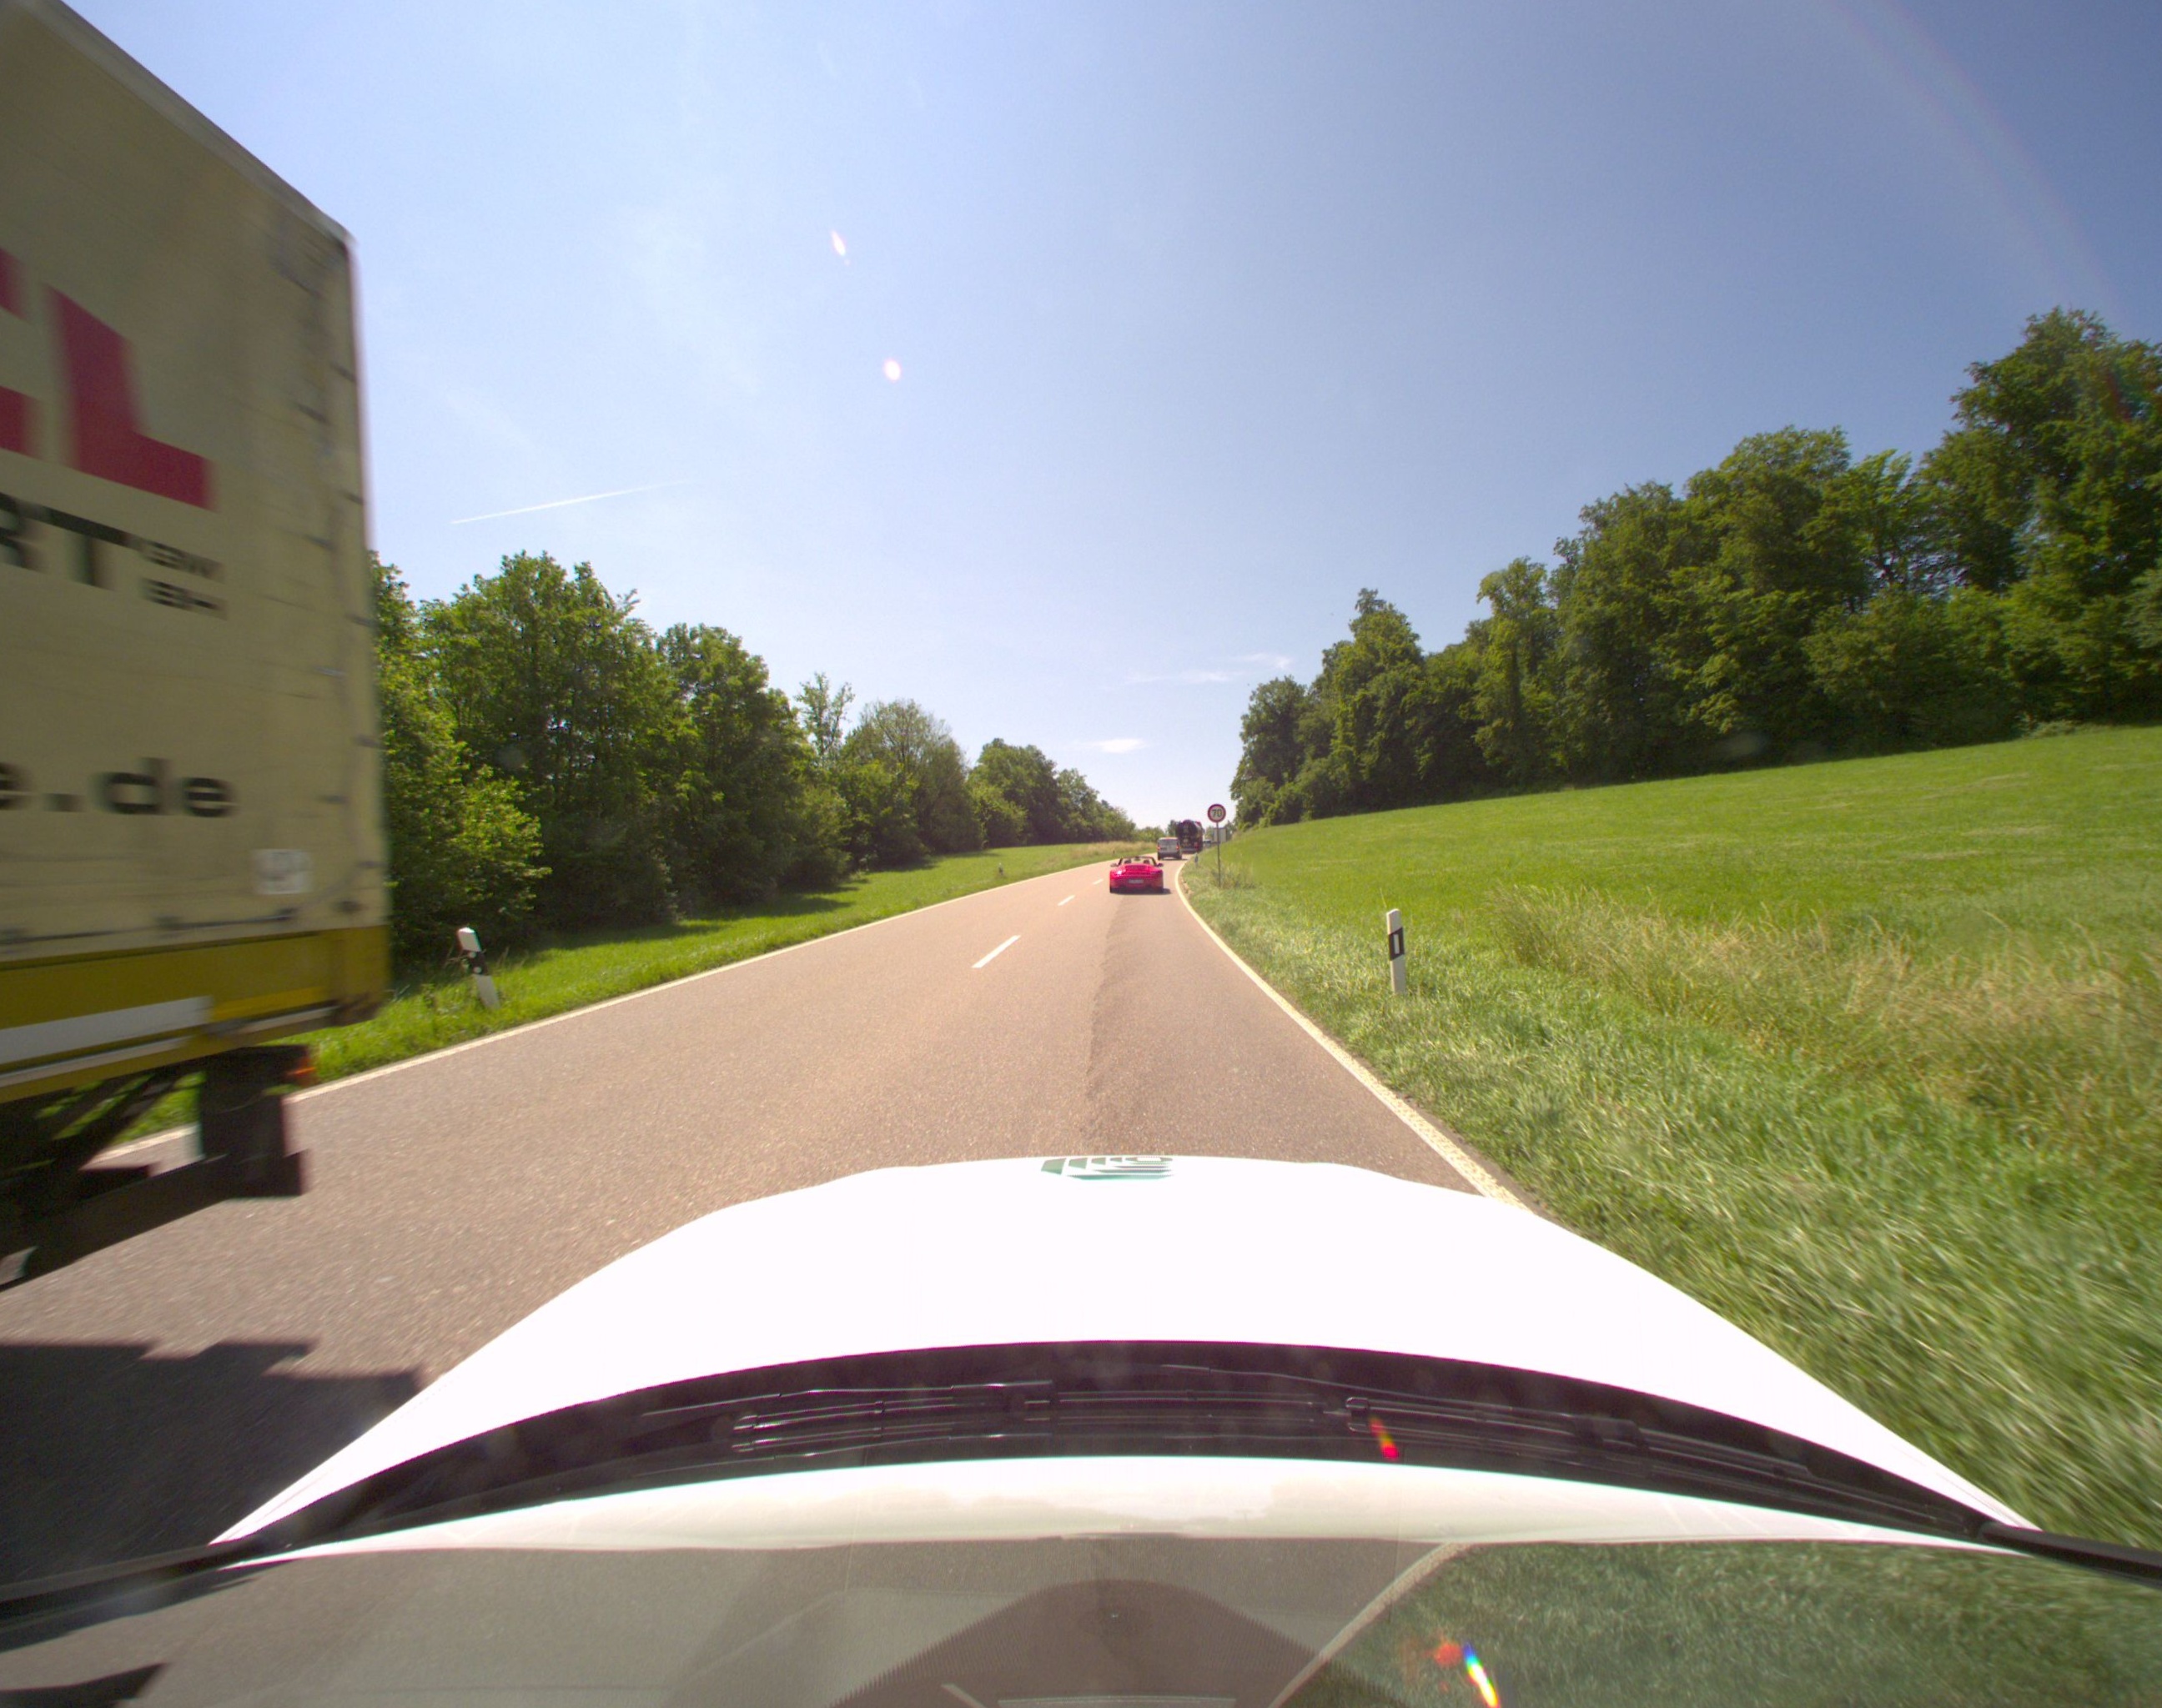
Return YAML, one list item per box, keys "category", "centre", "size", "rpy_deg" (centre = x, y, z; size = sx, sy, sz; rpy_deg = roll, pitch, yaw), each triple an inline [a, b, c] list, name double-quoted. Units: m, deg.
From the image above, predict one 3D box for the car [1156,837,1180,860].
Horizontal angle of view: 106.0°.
- category: "car"
  centre: [7.523, -0.504, 70.144]
  size: [1.668, 1.900, 4.021]
  rpy_deg: [-2, 1, 10]

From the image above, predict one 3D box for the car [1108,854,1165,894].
- category: "car"
  centre: [1.909, 0.654, 29.168]
  size: [1.875, 1.255, 4.011]
  rpy_deg: [-1, 1, 2]

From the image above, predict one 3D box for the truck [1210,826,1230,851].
- category: "truck"
  centre: [28.044, -3.161, 163.598]
  size: [3.702, 4.660, 12.067]
  rpy_deg: [-2, 1, 11]

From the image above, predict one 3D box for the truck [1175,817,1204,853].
- category: "truck"
  centre: [12.982, -2.245, 97.010]
  size: [2.388, 4.049, 12.594]
  rpy_deg: [0, 1, 12]

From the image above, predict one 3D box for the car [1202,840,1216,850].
- category: "car"
  centre: [20.670, -1.503, 131.164]
  size: [1.817, 1.513, 4.207]
  rpy_deg: [-2, 1, 14]
